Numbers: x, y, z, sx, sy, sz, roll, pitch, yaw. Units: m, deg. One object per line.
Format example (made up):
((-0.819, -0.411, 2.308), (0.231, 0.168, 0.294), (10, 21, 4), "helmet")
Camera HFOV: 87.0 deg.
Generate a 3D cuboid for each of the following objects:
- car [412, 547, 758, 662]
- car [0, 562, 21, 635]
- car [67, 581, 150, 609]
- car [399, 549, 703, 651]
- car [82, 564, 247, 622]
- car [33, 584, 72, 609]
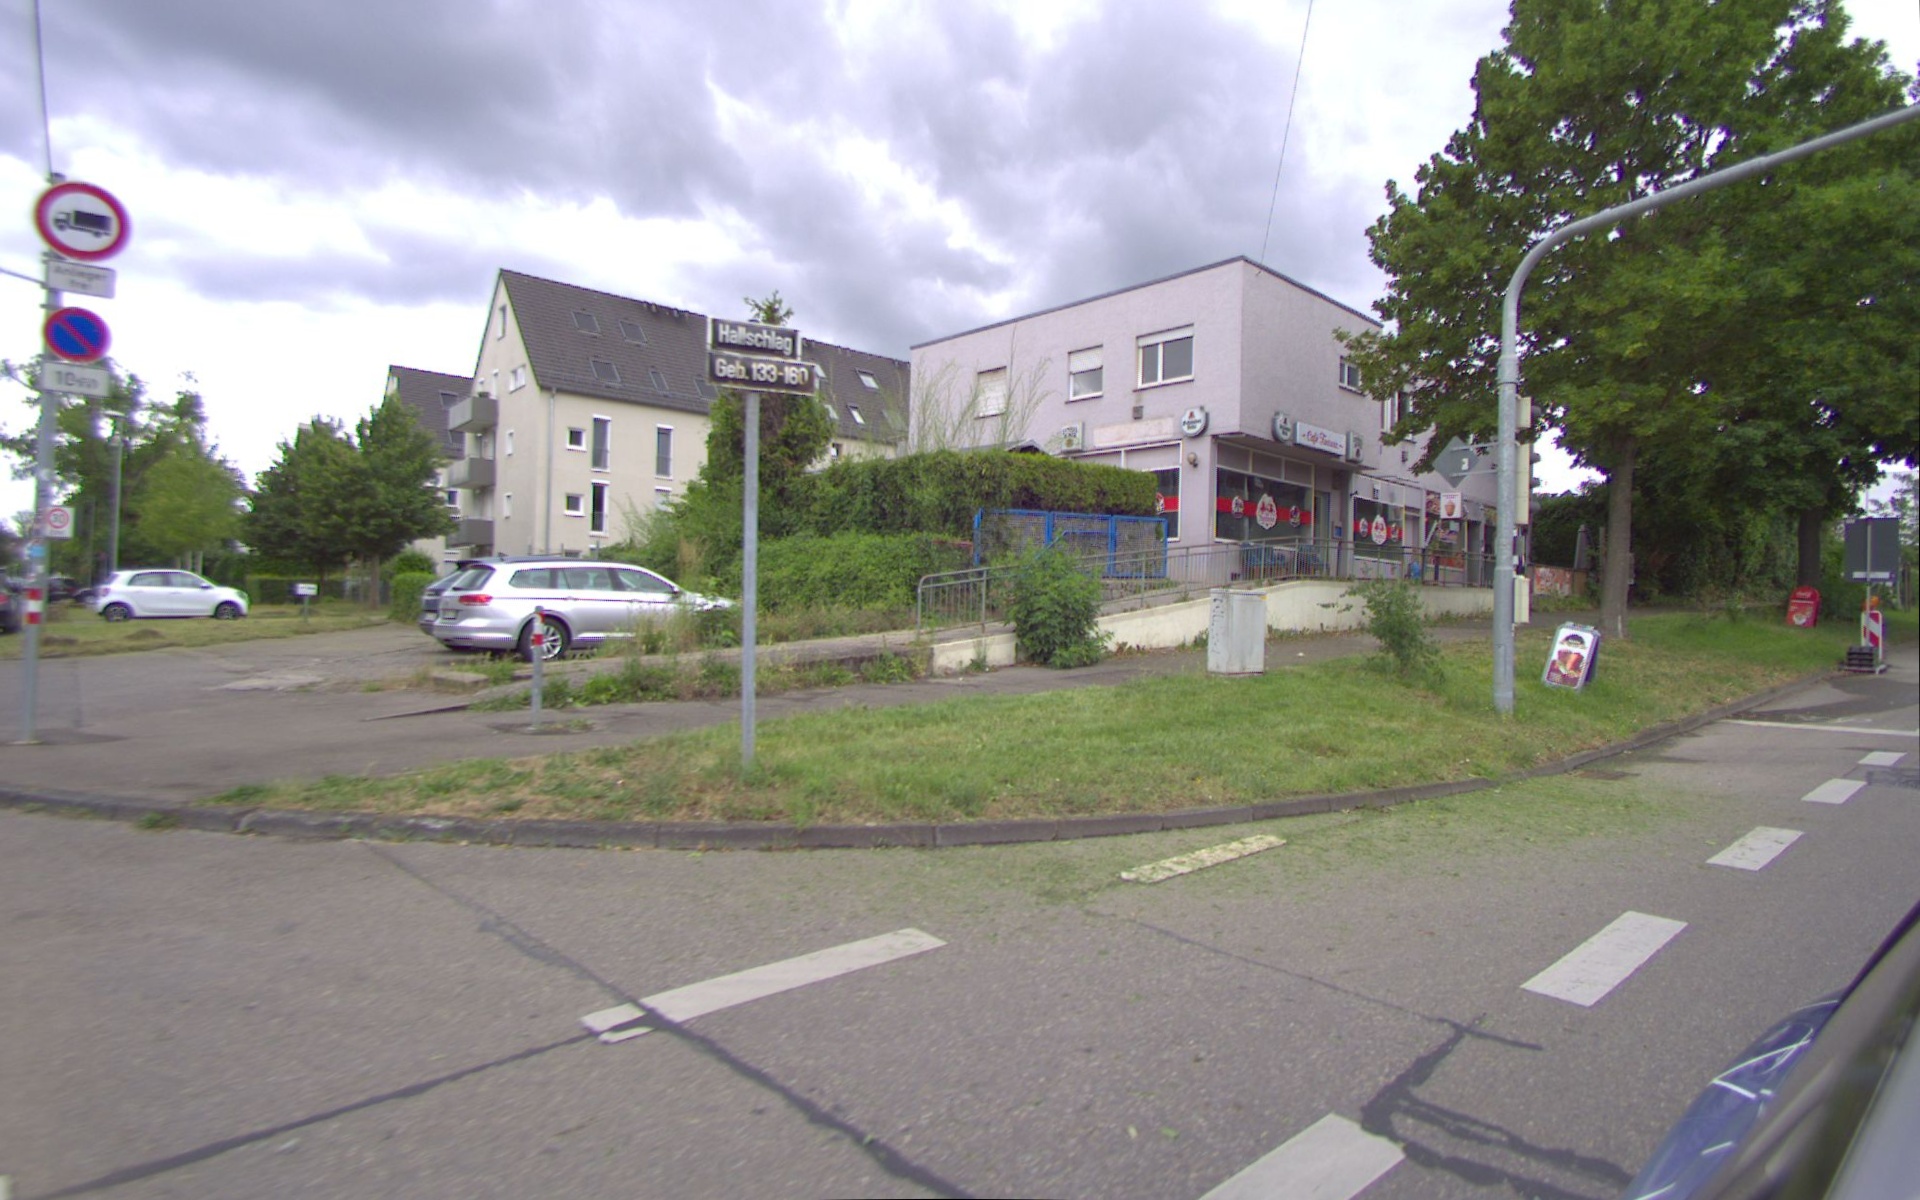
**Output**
((-5.547, 0.033, 15.353), (4.535, 1.482, 1.995), (-1, 0, -44), "car")
((-21.881, -0.020, 22.368), (1.612, 1.553, 3.676), (-1, 0, -44), "car")
((-49.099, -0.295, 58.466), (3.620, 1.553, 1.582), (-1, 0, -39), "car")
((-7.042, -0.027, 17.716), (4.535, 1.553, 1.995), (-1, 0, -44), "car")
((-22.753, -0.214, 29.061), (3.620, 1.553, 1.582), (-1, 0, -39), "car")
((-56.867, -0.185, 63.444), (1.712, 1.479, 3.992), (3, -2, -41), "car")
